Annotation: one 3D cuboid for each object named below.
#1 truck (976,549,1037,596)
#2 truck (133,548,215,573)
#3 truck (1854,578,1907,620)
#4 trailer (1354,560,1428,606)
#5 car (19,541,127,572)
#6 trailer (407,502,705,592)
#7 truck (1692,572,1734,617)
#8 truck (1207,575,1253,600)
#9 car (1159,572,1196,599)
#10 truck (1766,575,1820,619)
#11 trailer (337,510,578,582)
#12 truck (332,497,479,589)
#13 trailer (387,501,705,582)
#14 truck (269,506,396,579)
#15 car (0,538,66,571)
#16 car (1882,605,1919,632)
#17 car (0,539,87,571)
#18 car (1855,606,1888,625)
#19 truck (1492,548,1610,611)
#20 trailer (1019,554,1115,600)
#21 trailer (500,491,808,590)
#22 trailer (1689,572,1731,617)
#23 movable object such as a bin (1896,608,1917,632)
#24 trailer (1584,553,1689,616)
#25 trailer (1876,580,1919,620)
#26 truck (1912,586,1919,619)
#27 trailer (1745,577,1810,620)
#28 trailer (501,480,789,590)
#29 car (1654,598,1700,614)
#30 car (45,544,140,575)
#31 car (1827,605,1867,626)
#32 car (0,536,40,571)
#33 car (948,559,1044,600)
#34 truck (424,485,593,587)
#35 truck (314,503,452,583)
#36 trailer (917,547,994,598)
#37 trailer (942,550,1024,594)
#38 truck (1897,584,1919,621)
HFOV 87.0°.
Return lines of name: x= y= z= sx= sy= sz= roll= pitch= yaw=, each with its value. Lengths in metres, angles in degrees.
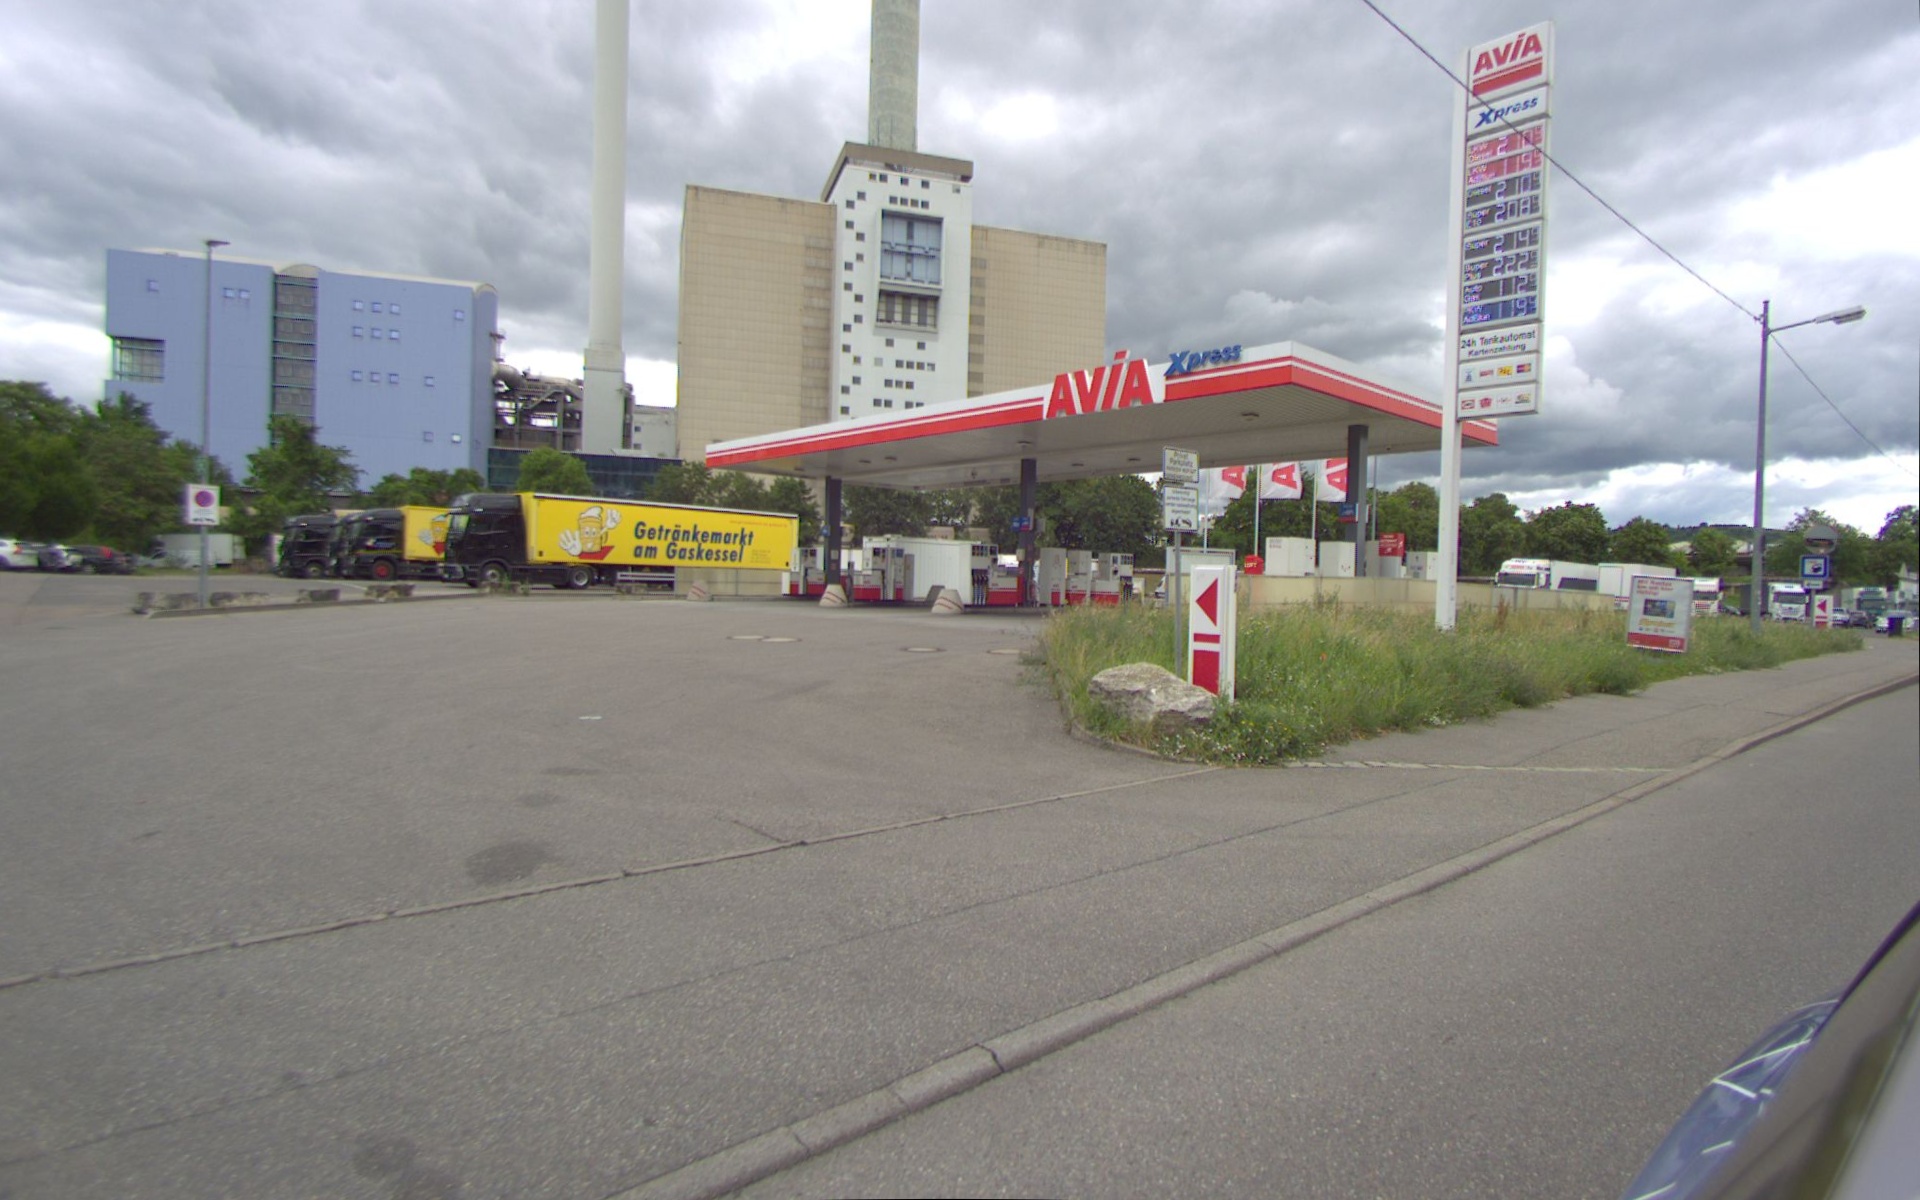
truck: x=4.353 y=-2.628 z=96.562 sx=3.633 sy=4.172 sz=7.272 roll=2 pitch=1 yaw=-15
truck: x=-67.618 y=-3.413 z=87.119 sx=5.179 sy=1.953 sz=2.005 roll=1 pitch=1 yaw=-19
truck: x=94.511 y=-0.144 z=104.007 sx=2.855 sy=4.063 sz=6.675 roll=3 pitch=2 yaw=34
trailer: x=40.686 y=-1.484 z=95.165 sx=3.619 sy=3.959 sz=13.565 roll=2 pitch=1 yaw=35
car: x=-51.514 y=-2.521 z=58.871 sx=4.250 sy=1.671 sz=1.991 roll=1 pitch=1 yaw=-20
trailer: x=-22.117 y=-2.741 z=56.893 sx=15.456 sy=4.313 sz=3.025 roll=0 pitch=2 yaw=-43
truck: x=73.252 y=-0.529 z=98.516 sx=2.857 sy=4.145 sz=6.672 roll=3 pitch=2 yaw=35
truck: x=30.647 y=-1.500 z=115.204 sx=2.233 sy=2.521 sz=5.973 roll=2 pitch=2 yaw=-15
car: x=23.875 y=-1.614 z=111.204 sx=2.064 sy=2.872 sz=5.096 roll=2 pitch=1 yaw=-10
truck: x=84.071 y=-0.331 z=102.249 sx=2.850 sy=4.145 sz=6.688 roll=3 pitch=1 yaw=29
trailer: x=-31.586 y=-3.276 z=64.451 sx=13.455 sy=3.963 sz=2.694 roll=0 pitch=2 yaw=-43
truck: x=-28.104 y=-2.808 z=51.406 sx=5.938 sy=4.315 sz=3.048 roll=1 pitch=2 yaw=-42
trailer: x=-24.012 y=-3.254 z=60.580 sx=17.763 sy=3.963 sz=2.694 roll=0 pitch=2 yaw=-43
truck: x=-36.894 y=-3.317 z=59.568 sx=5.938 sy=3.963 sz=2.694 roll=1 pitch=2 yaw=-42
car: x=-50.484 y=-2.452 z=53.672 sx=4.216 sy=1.671 sz=1.864 roll=1 pitch=1 yaw=-20
car: x=56.963 y=1.103 z=60.812 sx=4.480 sy=1.482 sz=1.776 roll=1 pitch=1 yaw=-41
car: x=-51.488 y=-2.511 z=56.083 sx=4.239 sy=1.671 sz=1.956 roll=1 pitch=1 yaw=-20
car: x=76.766 y=1.303 z=85.248 sx=3.980 sy=1.514 sz=1.496 roll=1 pitch=0 yaw=-40
truck: x=41.470 y=-1.330 z=70.664 sx=12.841 sy=4.016 sz=3.081 roll=1 pitch=3 yaw=-41
trailer: x=10.531 y=-2.356 z=103.401 sx=3.566 sy=4.225 sz=18.541 roll=2 pitch=1 yaw=-14
trailer: x=-13.945 y=-2.585 z=47.941 sx=14.058 sy=3.963 sz=3.004 roll=0 pitch=2 yaw=-43
trailer: x=76.632 y=-0.531 z=103.549 sx=2.822 sy=4.145 sz=13.229 roll=3 pitch=2 yaw=34
movable object such as a bin: x=45.376 y=0.954 z=48.515 sx=0.714 sy=1.095 sz=0.652 roll=2 pitch=0 yaw=42
trailer: x=47.174 y=-0.981 z=70.440 sx=10.215 sy=4.016 sz=2.966 roll=1 pitch=3 yaw=-39
trailer: x=102.913 y=0.021 z=109.817 sx=2.820 sy=4.145 sz=13.239 roll=3 pitch=2 yaw=32
truck: x=111.873 y=0.326 z=115.417 sx=2.807 sy=3.758 sz=9.005 roll=2 pitch=1 yaw=30
trailer: x=87.469 y=-0.190 z=108.571 sx=2.815 sy=4.145 sz=13.262 roll=3 pitch=2 yaw=28
trailer: x=-15.587 y=-3.063 z=51.718 sx=14.058 sy=4.781 sz=3.004 roll=0 pitch=2 yaw=-43
car: x=90.386 y=0.733 z=127.630 sx=1.959 sy=1.916 sz=4.729 roll=1 pitch=1 yaw=-10
car: x=-52.709 y=-2.454 z=61.584 sx=3.945 sy=1.671 sz=1.829 roll=1 pitch=1 yaw=-20
car: x=66.780 y=1.154 z=76.173 sx=3.931 sy=1.591 sz=1.767 roll=1 pitch=-1 yaw=-42
car: x=-49.419 y=-2.390 z=50.838 sx=4.313 sy=1.671 sz=1.906 roll=1 pitch=1 yaw=-20
car: x=1.898 y=-1.037 z=51.815 sx=4.865 sy=1.936 sz=1.987 roll=1 pitch=1 yaw=-42
truck: x=-19.163 y=-2.623 z=43.126 sx=5.938 sy=3.963 sz=2.961 roll=1 pitch=2 yaw=-42
truck: x=-30.863 y=-2.976 z=54.262 sx=5.938 sy=3.963 sz=2.694 roll=1 pitch=2 yaw=-42
trailer: x=-0.785 y=-2.678 z=100.438 sx=3.484 sy=4.557 sz=18.329 roll=1 pitch=1 yaw=-14
trailer: x=2.073 y=-2.877 z=105.493 sx=3.566 sy=4.141 sz=18.542 roll=2 pitch=1 yaw=-14
truck: x=99.493 y=0.304 z=104.505 sx=2.855 sy=3.675 sz=6.675 roll=3 pitch=2 yaw=34
